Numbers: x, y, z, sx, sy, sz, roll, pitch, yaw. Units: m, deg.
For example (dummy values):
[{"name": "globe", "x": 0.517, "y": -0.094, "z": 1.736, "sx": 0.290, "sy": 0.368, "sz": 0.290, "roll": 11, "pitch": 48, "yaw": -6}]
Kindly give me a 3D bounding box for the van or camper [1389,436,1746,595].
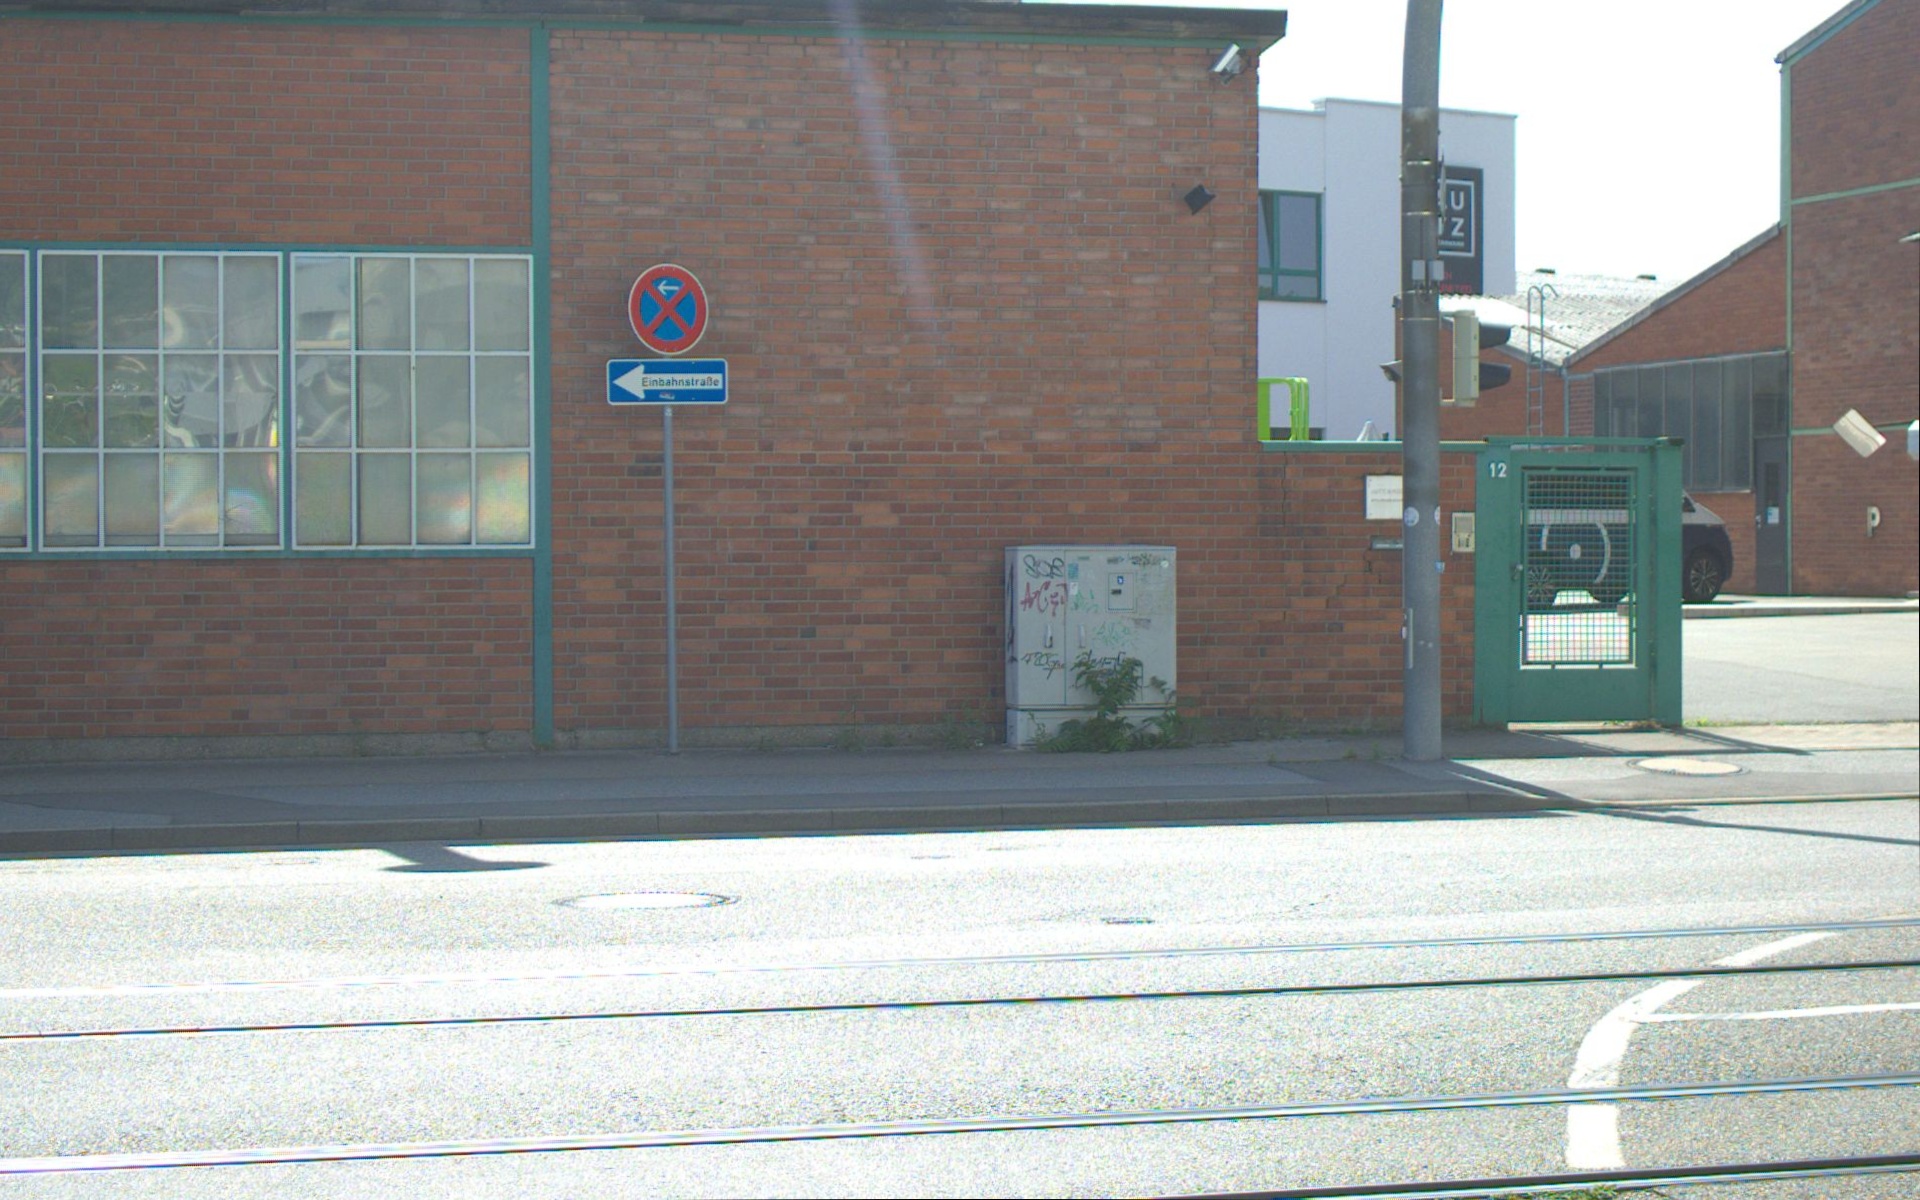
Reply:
[{"name": "van or camper", "x": 7.902, "y": -1.070, "z": 44.601, "sx": 4.407, "sy": 1.894, "sz": 2.000, "roll": 1, "pitch": 1, "yaw": -36}]
